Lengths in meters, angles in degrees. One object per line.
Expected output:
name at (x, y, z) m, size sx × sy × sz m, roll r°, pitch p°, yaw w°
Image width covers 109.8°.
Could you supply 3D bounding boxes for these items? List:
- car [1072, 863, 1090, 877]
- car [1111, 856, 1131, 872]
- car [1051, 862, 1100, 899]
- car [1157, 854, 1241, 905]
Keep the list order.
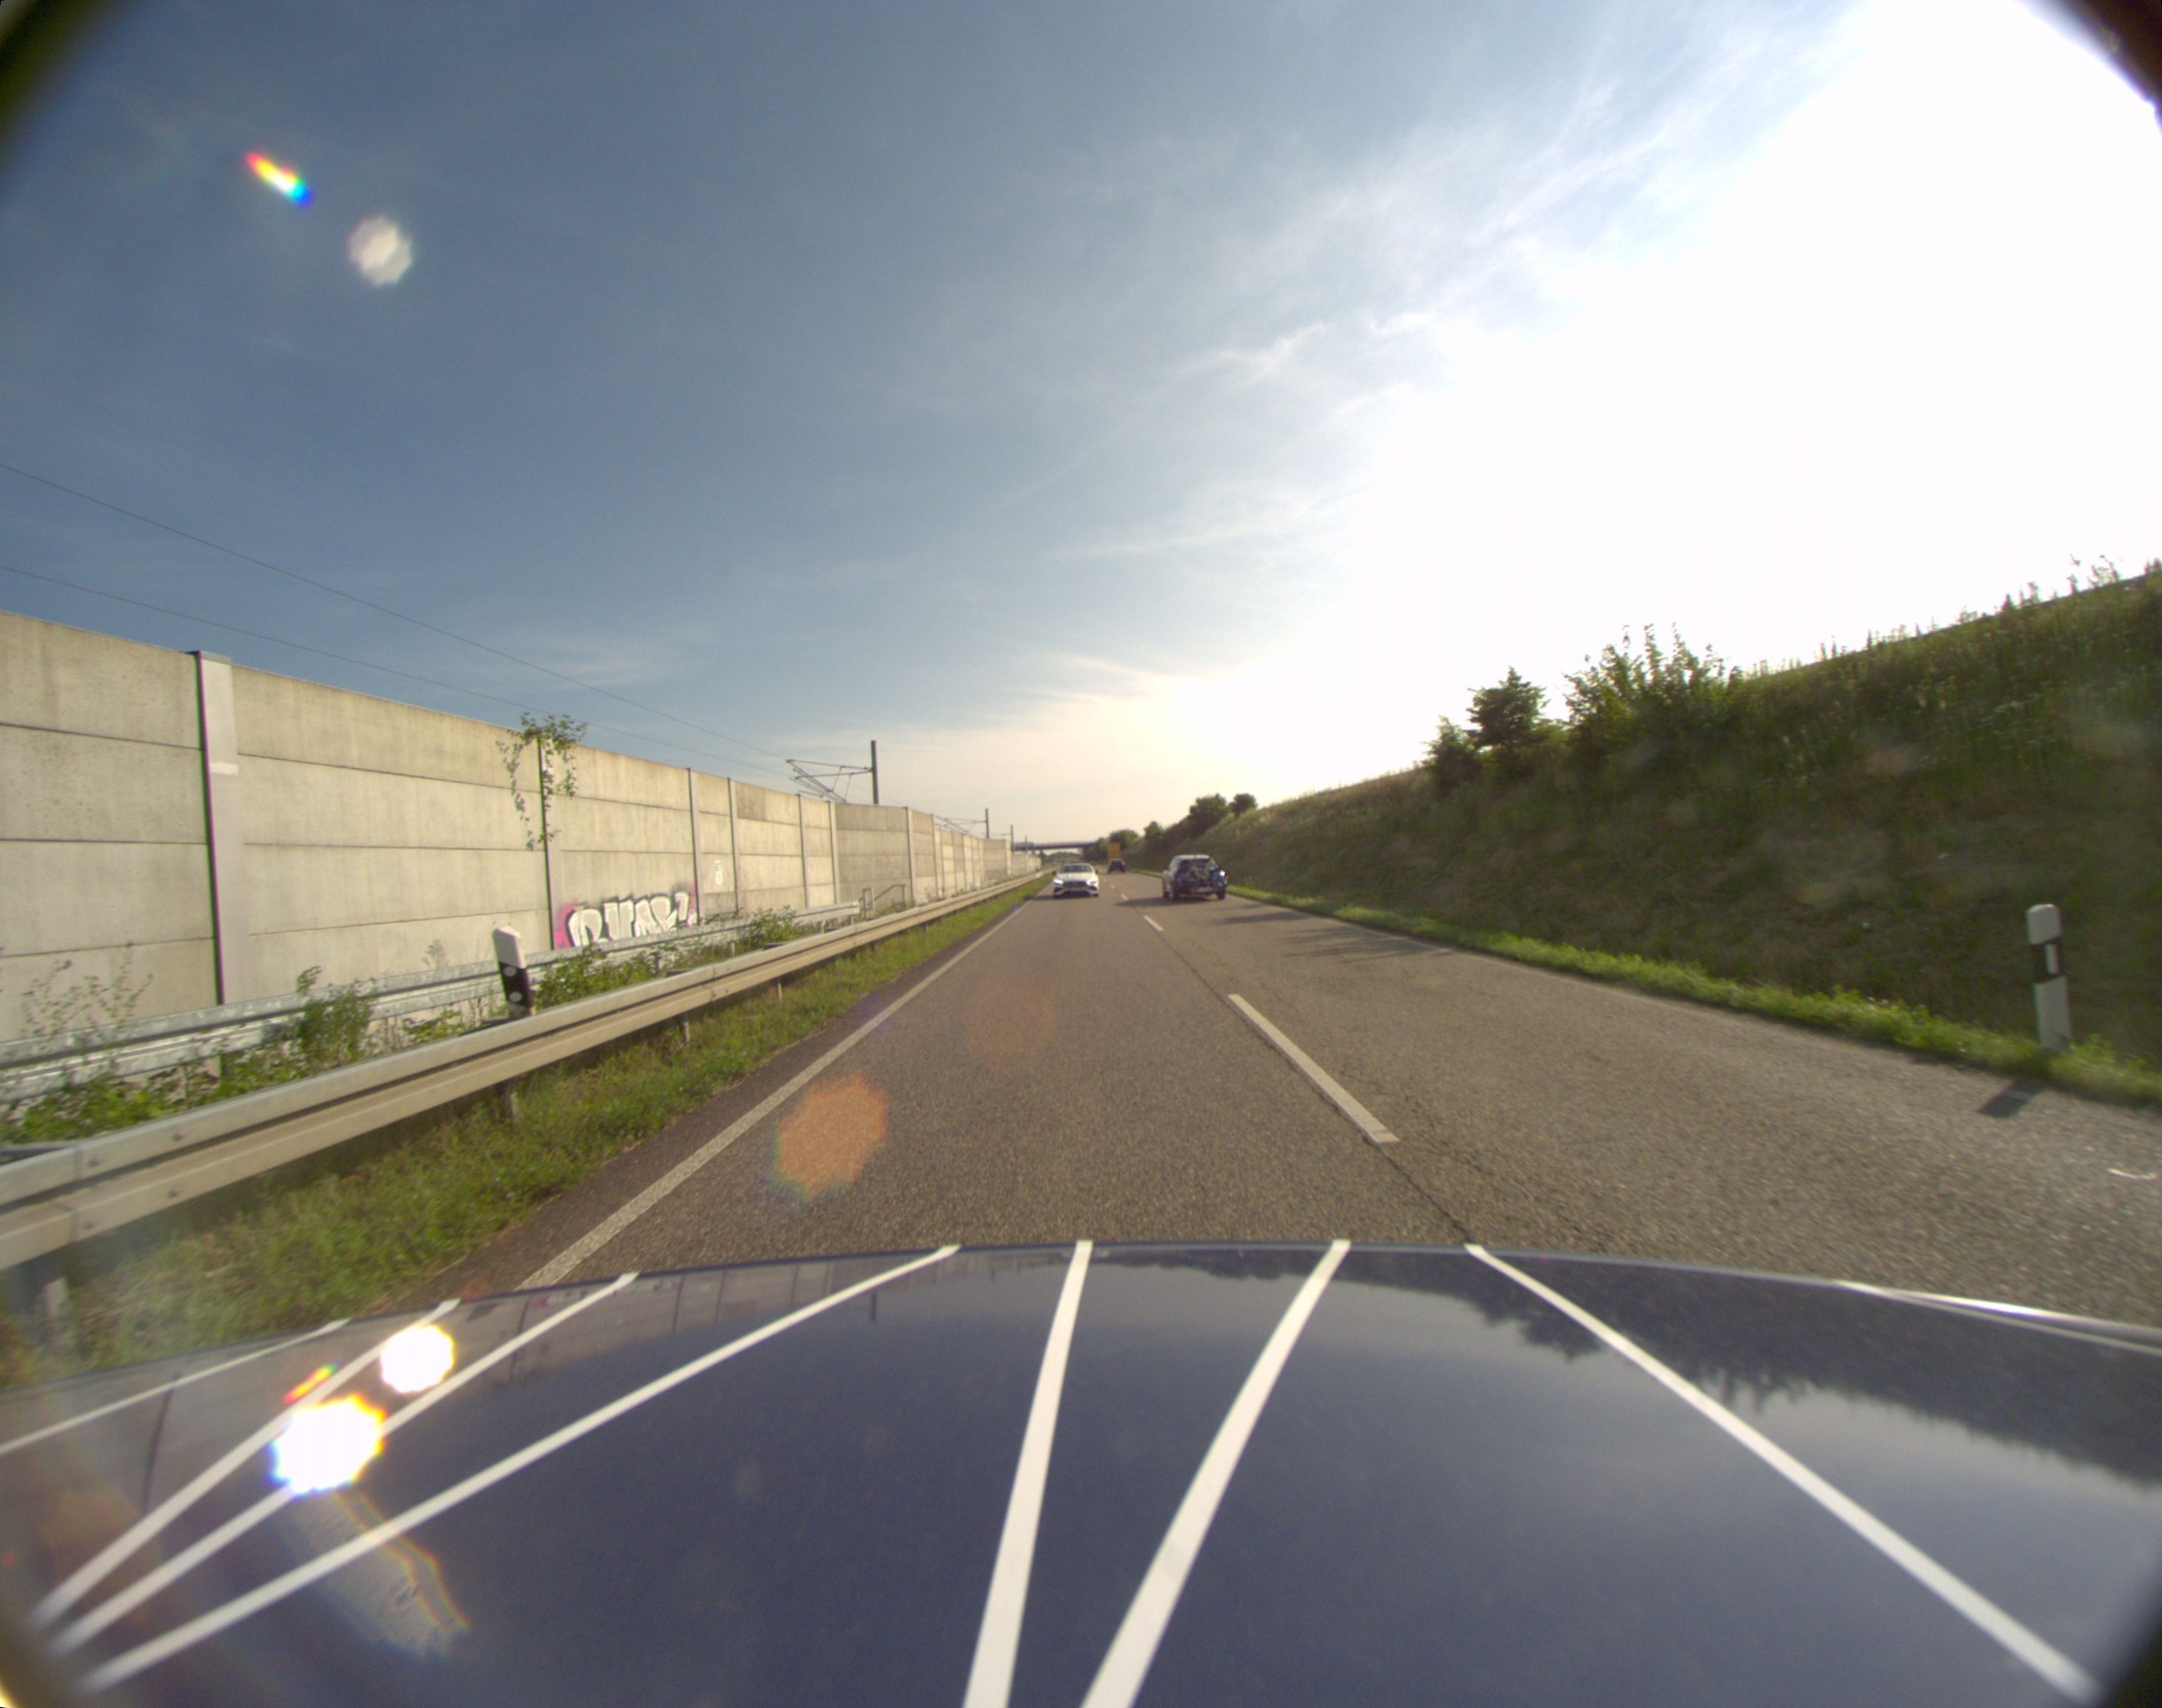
car at (-0.006, 1.777, 87.220) m, size 1.930 × 1.399 × 4.973 m, roll -1°, pitch 1°, yaw 0°
car at (4.042, 0.983, 77.648) m, size 1.721 × 1.445 × 4.018 m, roll -3°, pitch 0°, yaw 0°
car at (-0.196, 1.073, 32.832) m, size 1.930 × 1.398 × 4.974 m, roll -1°, pitch 0°, yaw 1°
car at (4.028, 0.829, 26.986) m, size 2.146 × 1.564 × 5.340 m, roll -2°, pitch 0°, yaw 0°
